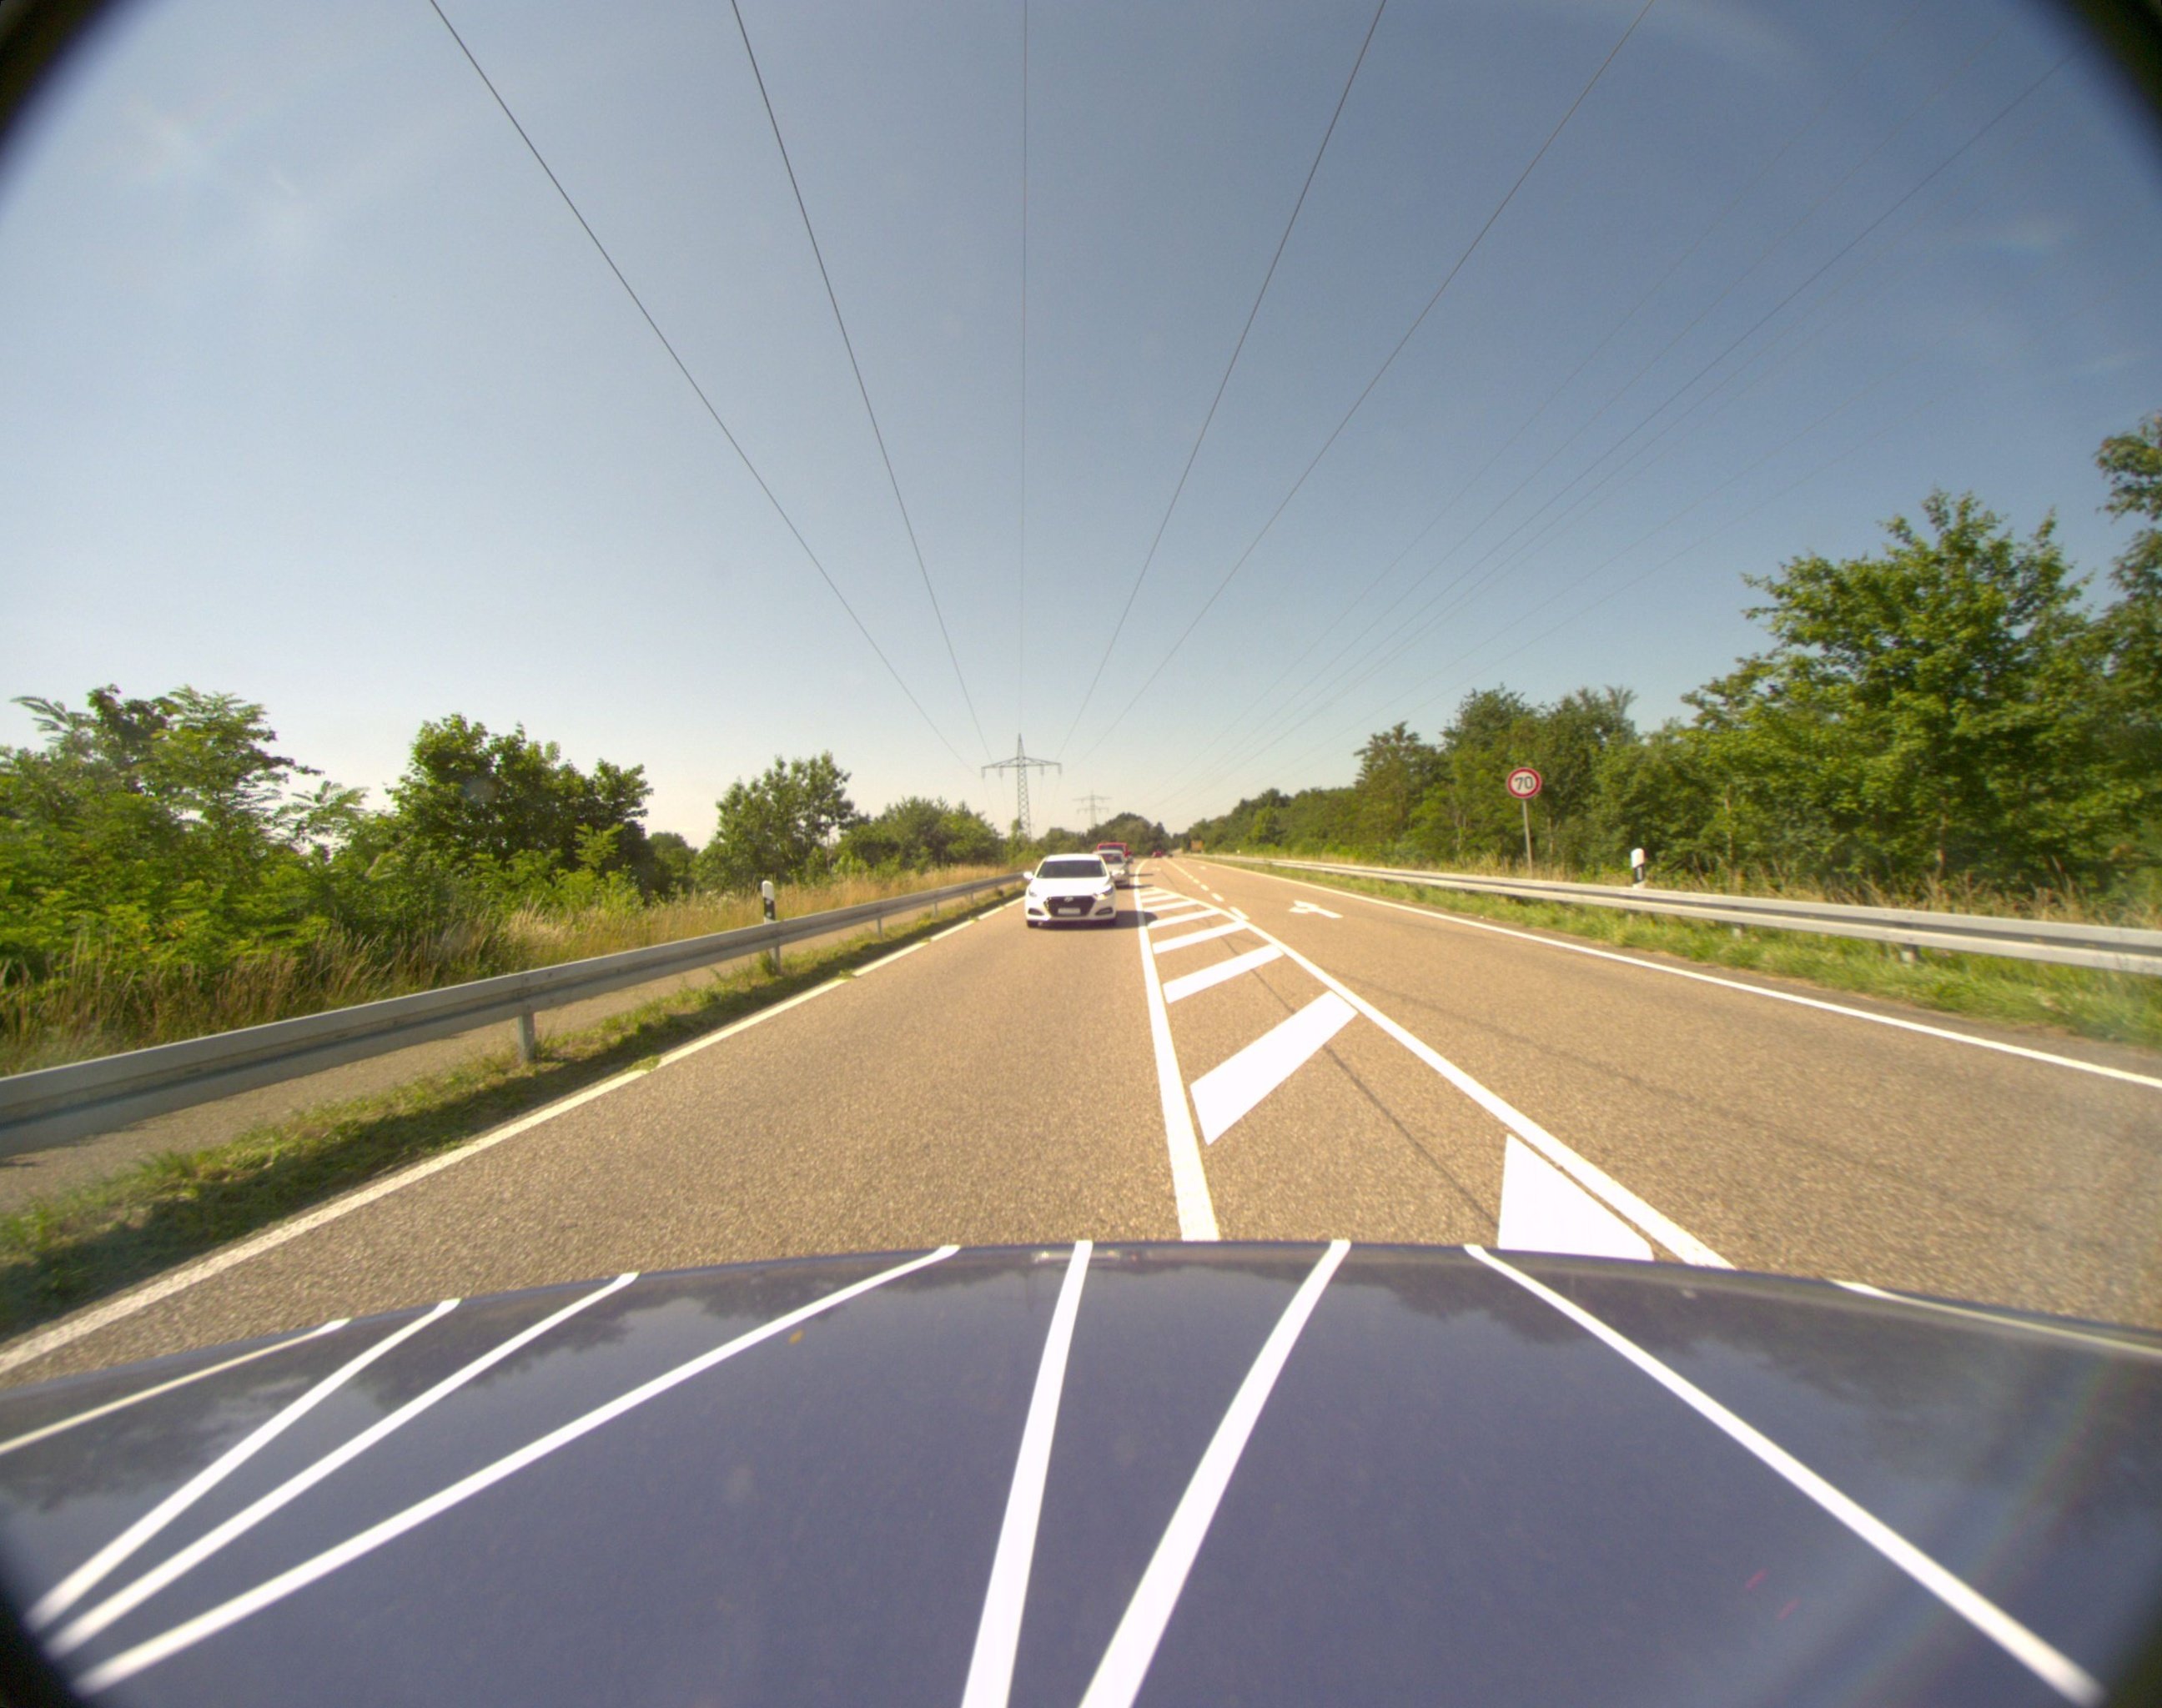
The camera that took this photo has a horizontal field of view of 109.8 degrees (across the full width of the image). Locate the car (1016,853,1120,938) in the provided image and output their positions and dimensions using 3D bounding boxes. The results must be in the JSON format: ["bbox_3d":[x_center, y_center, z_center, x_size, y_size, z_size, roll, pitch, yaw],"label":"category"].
[{"bbox_3d":[-0.145,0.786,16.759,1.922,1.496,4.794,-2,0,2],"label":"car"}]

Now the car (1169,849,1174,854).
[{"bbox_3d":[30.759,-0.808,258.044,1.832,1.574,4.002,0,1,7],"label":"car"}]

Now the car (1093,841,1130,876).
[{"bbox_3d":[1.899,0.240,46.516,2.126,1.934,5.019,-2,1,3],"label":"car"}]

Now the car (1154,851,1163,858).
[{"bbox_3d":[17.481,0.076,171.273,1.833,1.574,4.001,0,1,4],"label":"car"}]

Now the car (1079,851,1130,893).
[{"bbox_3d":[1.017,0.680,31.919,1.922,1.540,4.794,-2,0,2],"label":"car"}]
